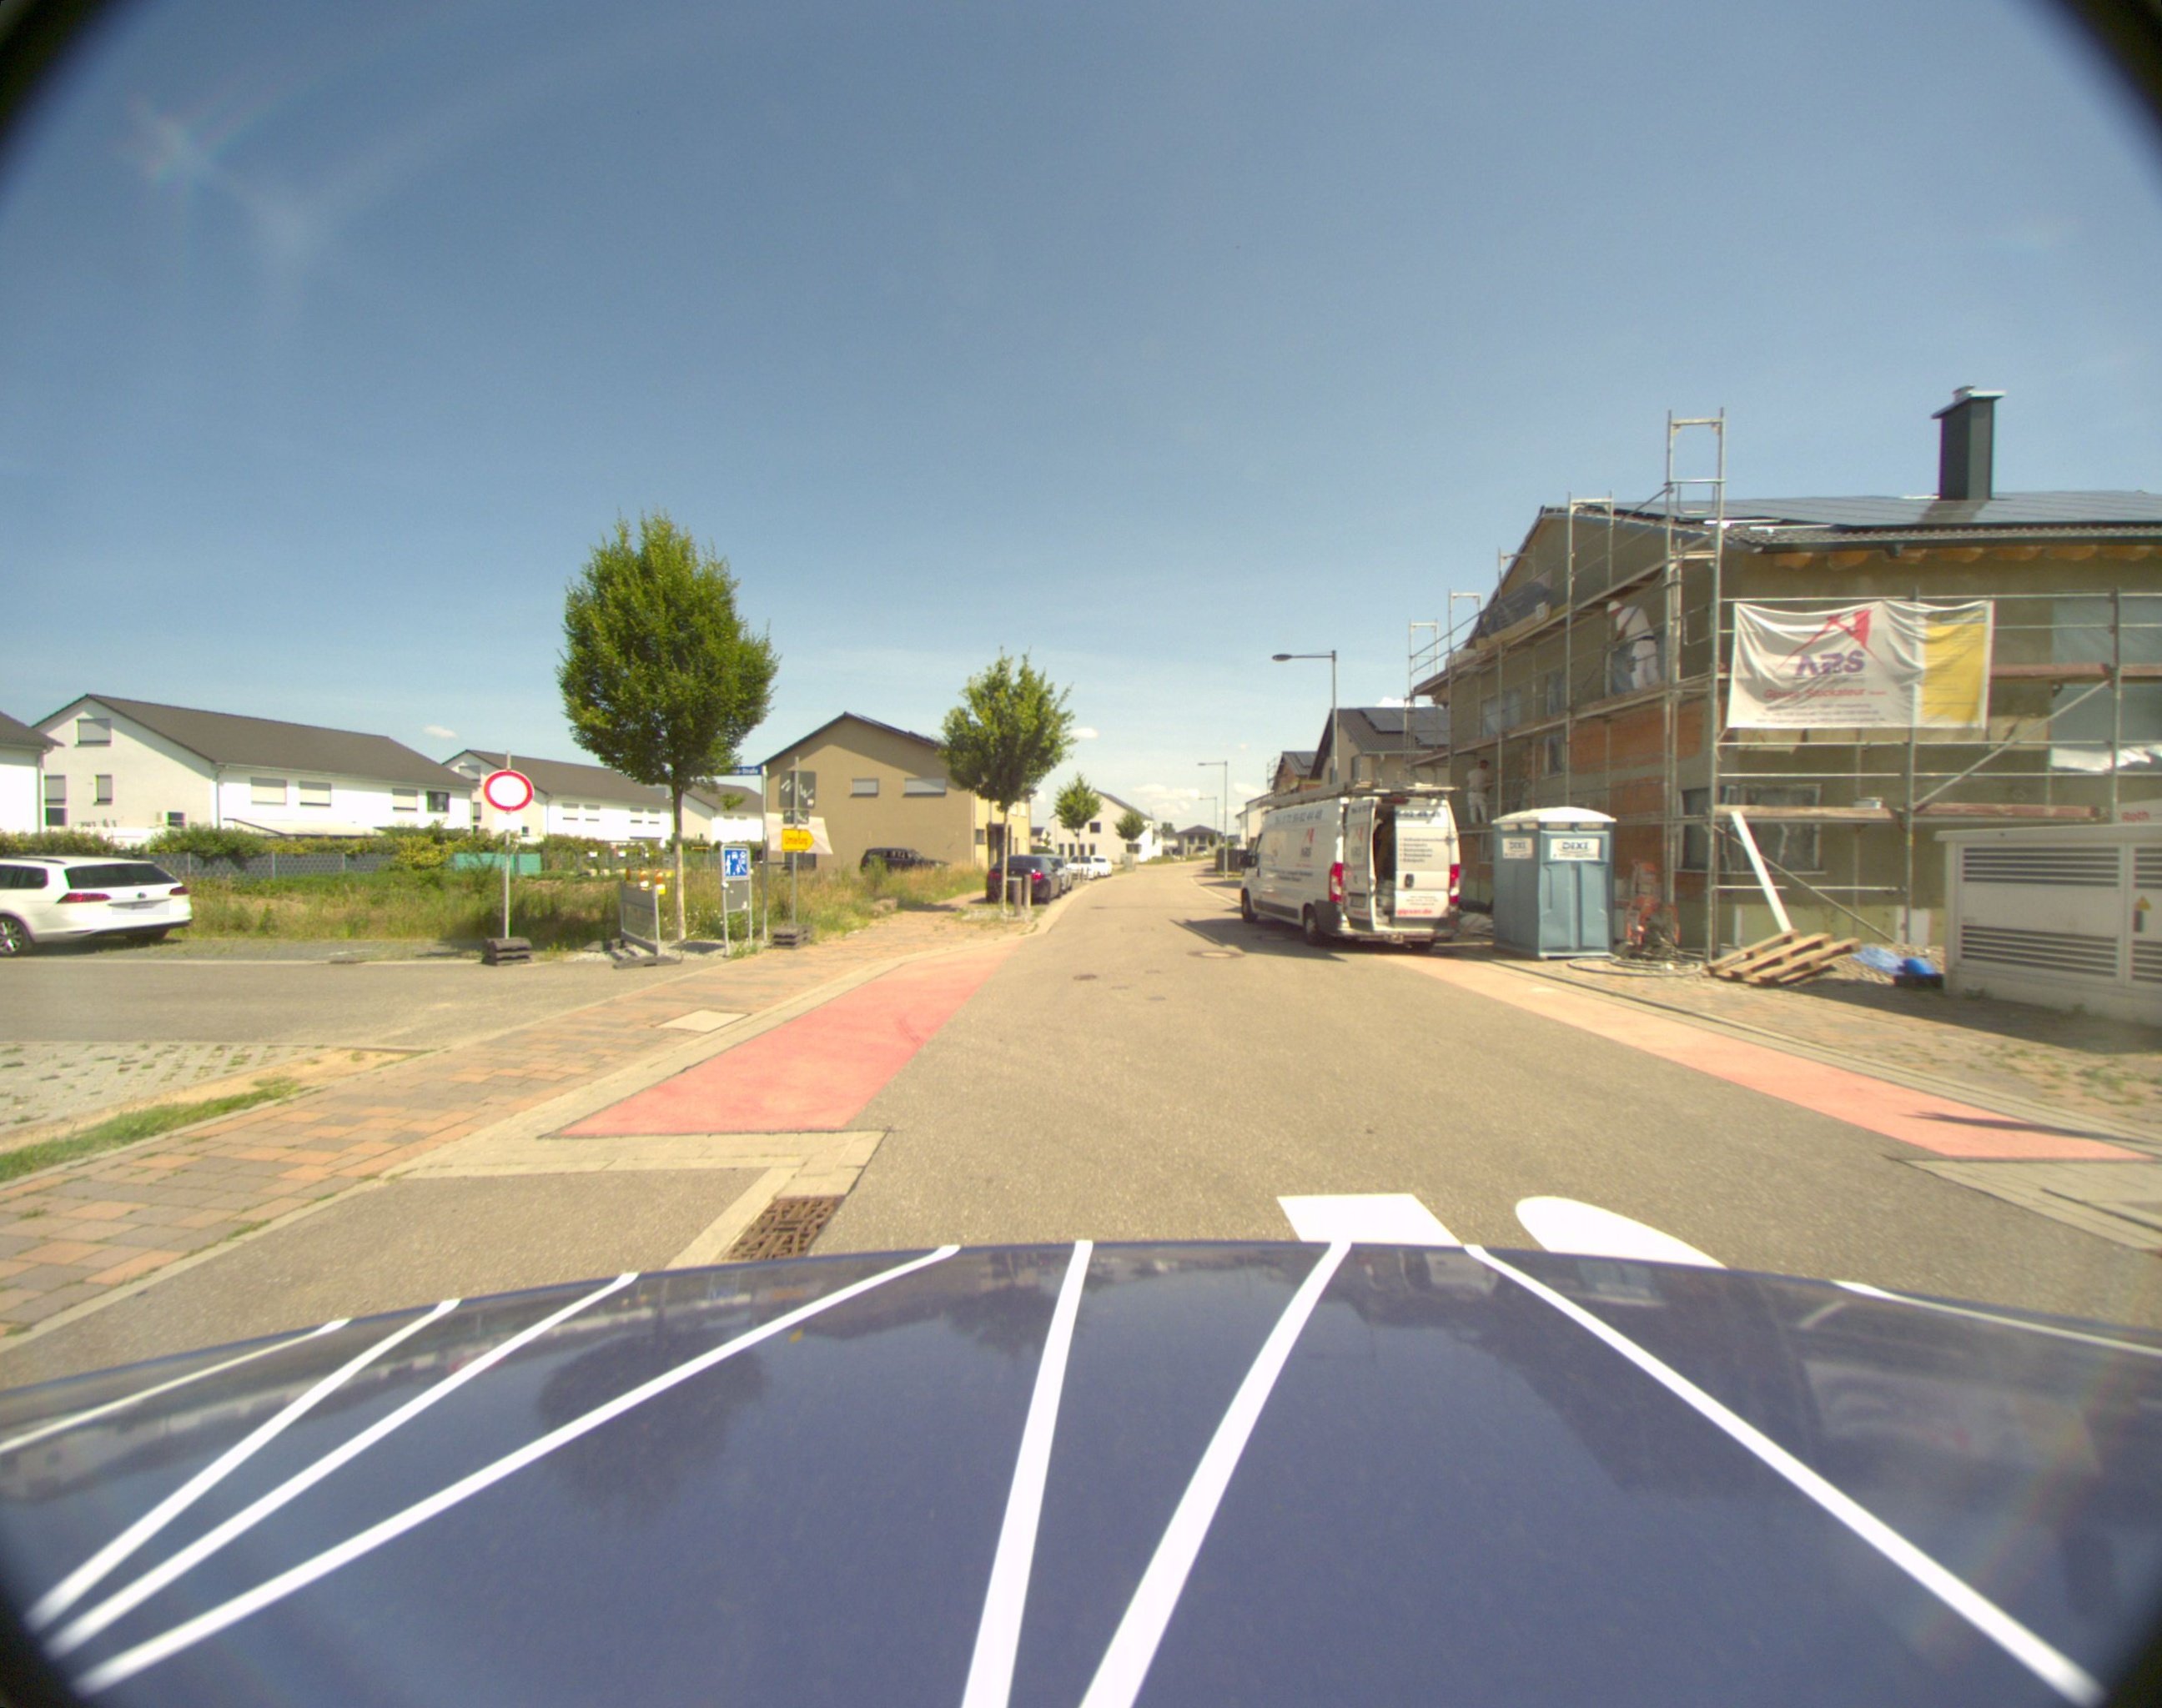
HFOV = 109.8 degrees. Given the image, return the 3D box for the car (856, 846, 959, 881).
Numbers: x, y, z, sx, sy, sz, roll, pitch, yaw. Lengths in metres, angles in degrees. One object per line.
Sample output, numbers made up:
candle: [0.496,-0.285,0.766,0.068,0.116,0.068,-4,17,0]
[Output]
car: [-8.800,0.440,38.810,4.755,1.635,2.000,1,2,5]

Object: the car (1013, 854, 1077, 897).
car: [-1.319,0.770,30.023,1.922,1.502,5.296,1,0,4]

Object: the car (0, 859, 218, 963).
car: [-16.735,0.833,11.969,4.168,1.427,1.882,0,2,2]

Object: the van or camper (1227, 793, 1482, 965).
van or camper: [4.653,0.312,14.397,2.279,2.539,6.364,0,1,-3]

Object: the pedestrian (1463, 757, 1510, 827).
pedestrian: [9.736,-1.477,18.264,0.748,1.671,0.578,0,3,0]

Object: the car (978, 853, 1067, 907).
car: [-1.705,0.739,23.964,1.922,1.461,5.142,1,0,5]

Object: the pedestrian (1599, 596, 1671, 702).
pedestrian: [9.032,-3.308,12.401,0.564,1.491,0.746,-2,4,-33]

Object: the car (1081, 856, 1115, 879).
car: [1.218,0.871,52.205,1.817,1.447,4.567,1,1,8]

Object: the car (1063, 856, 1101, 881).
car: [0.110,0.845,45.962,1.783,1.417,4.516,1,0,7]

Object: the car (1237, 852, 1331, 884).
car: [10.573,0.698,39.820,4.434,1.602,2.000,0,1,4]
